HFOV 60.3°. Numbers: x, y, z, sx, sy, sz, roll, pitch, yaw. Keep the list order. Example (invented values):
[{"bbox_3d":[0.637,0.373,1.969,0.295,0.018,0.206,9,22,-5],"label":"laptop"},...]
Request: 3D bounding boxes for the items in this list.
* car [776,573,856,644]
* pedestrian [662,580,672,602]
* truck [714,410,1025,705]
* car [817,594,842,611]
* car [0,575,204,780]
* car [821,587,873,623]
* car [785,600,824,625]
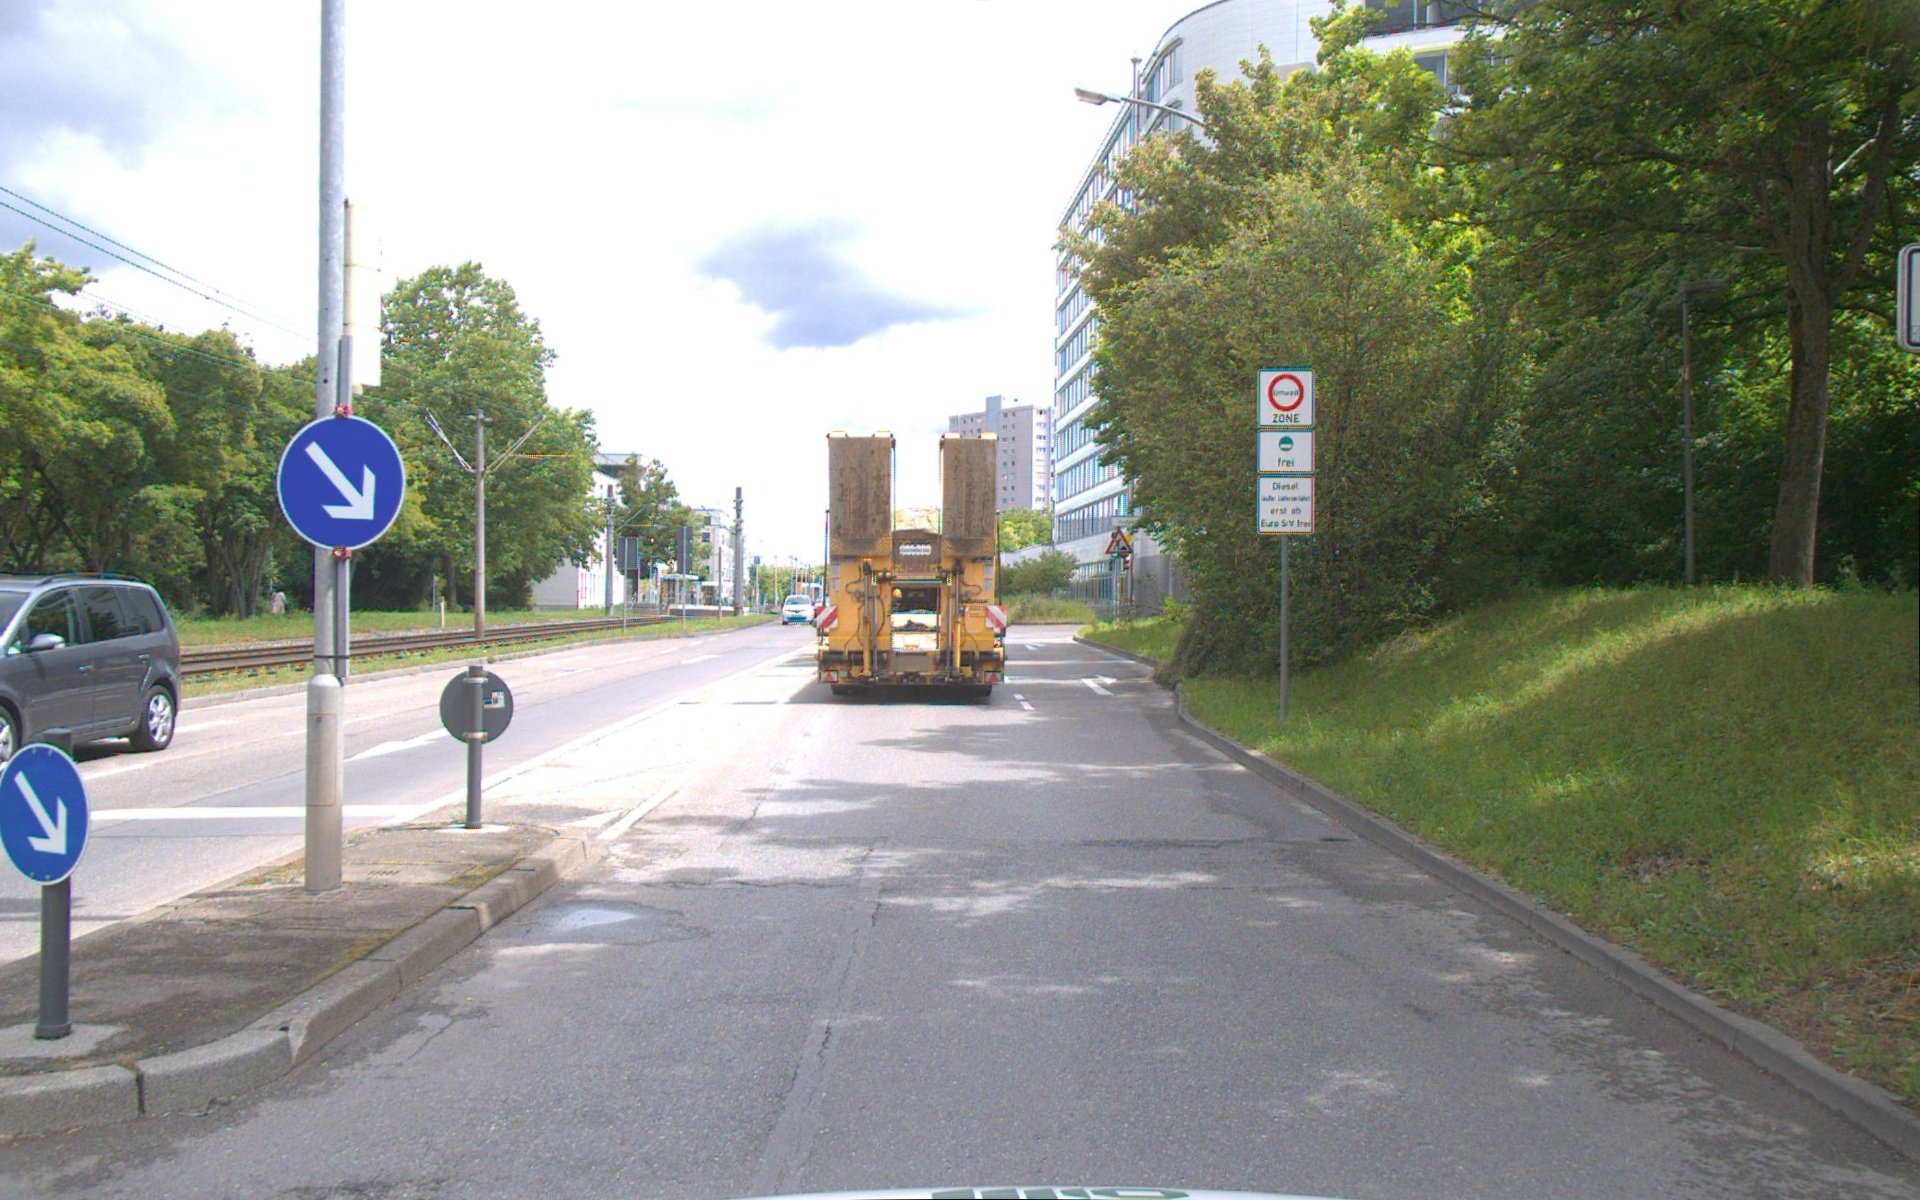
[{"bbox_3d":[-4.287,0.236,49.889,1.953,1.959,4.000,2,0,0],"label":"car"},{"bbox_3d":[-27.080,-0.843,152.758,0.639,2.048,0.654,2,0,5],"label":"pedestrian"},{"bbox_3d":[-0.947,-0.589,27.746,3.246,3.714,12.570,2,0,5],"label":"truck"},{"bbox_3d":[-9.980,0.170,126.807,1.748,1.294,4.343,1,0,-2],"label":"car"},{"bbox_3d":[-8.338,0.590,14.161,1.747,1.597,4.344,1,0,-1],"label":"car"},{"bbox_3d":[-4.947,0.202,73.000,1.953,1.445,4.000,3,0,0],"label":"car"},{"bbox_3d":[-8.347,0.644,89.053,1.747,1.294,4.344,1,0,-1],"label":"car"}]
